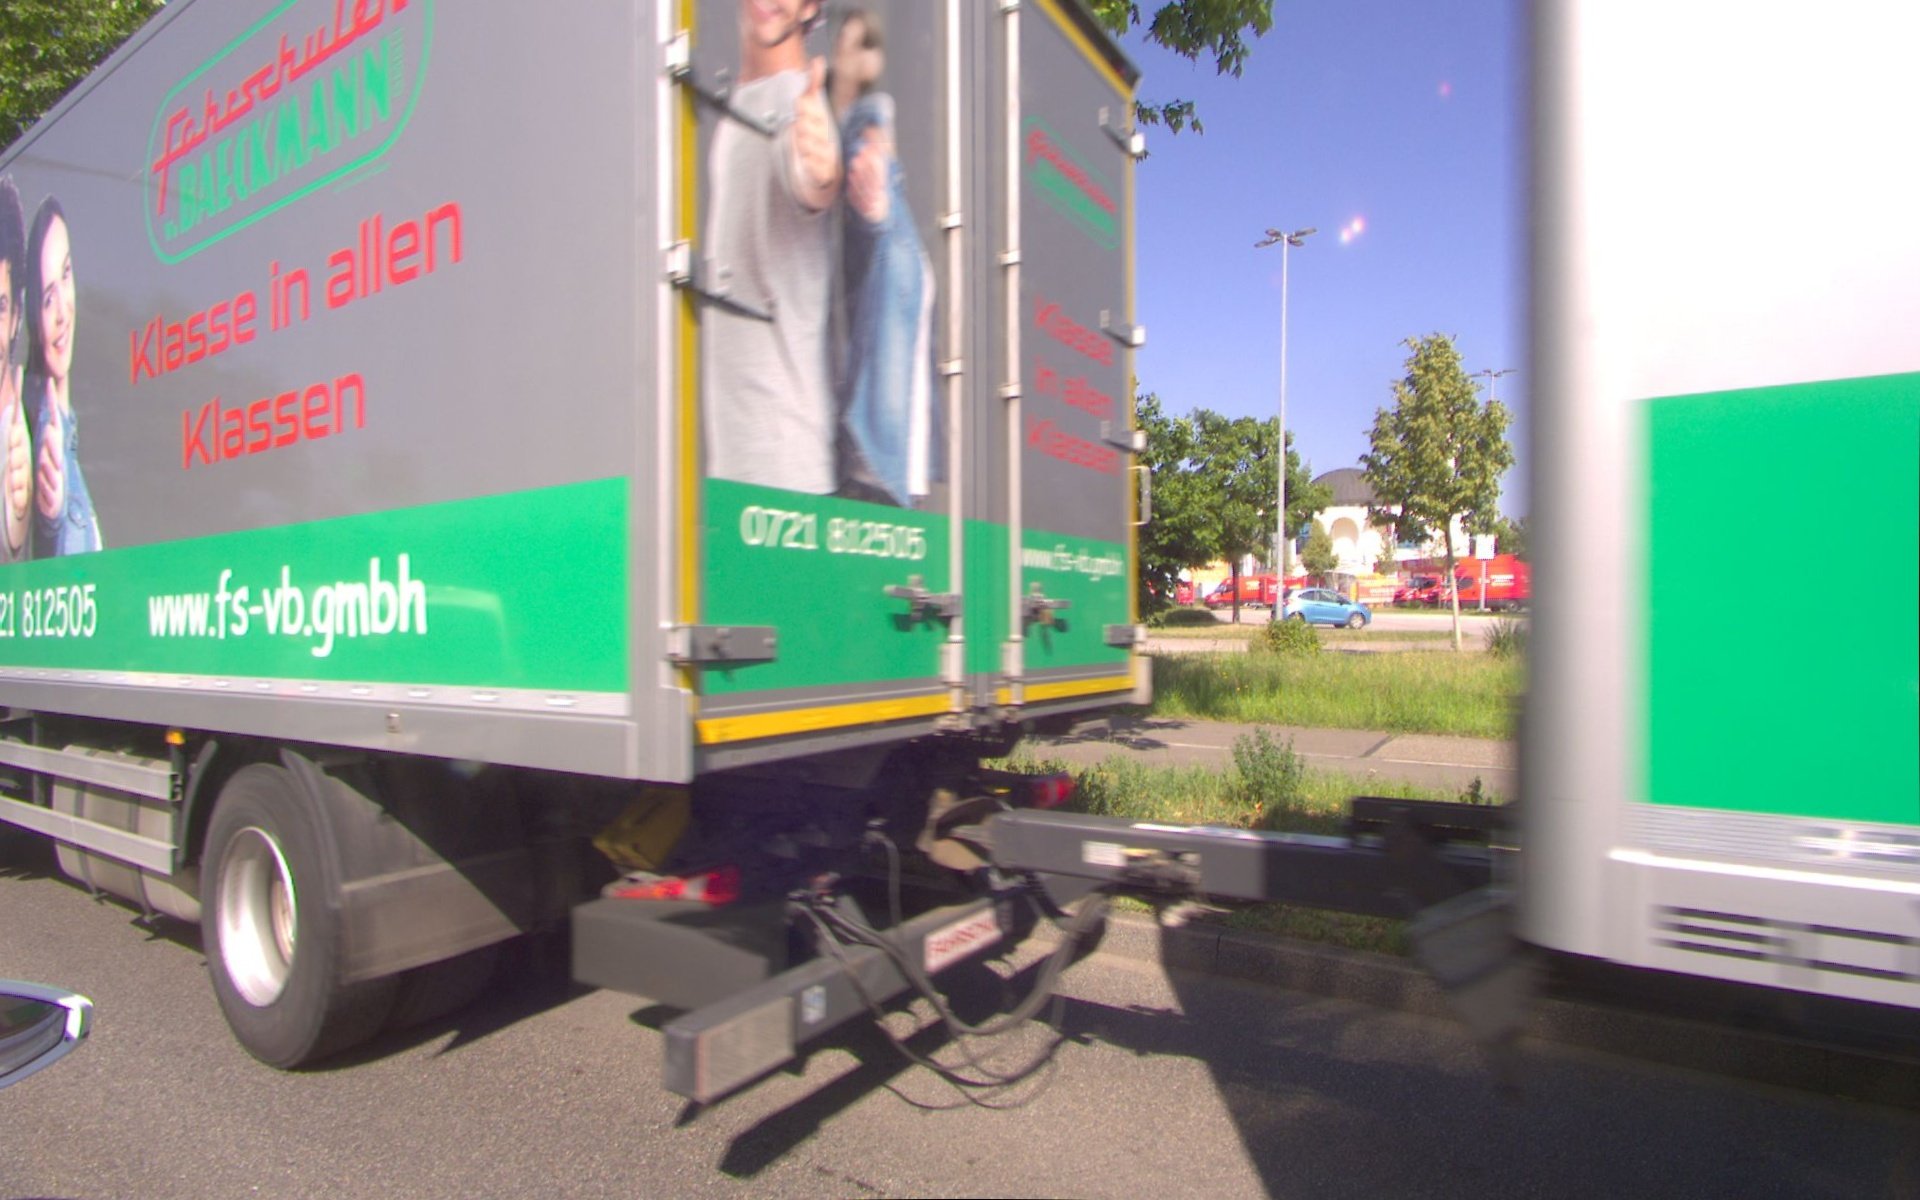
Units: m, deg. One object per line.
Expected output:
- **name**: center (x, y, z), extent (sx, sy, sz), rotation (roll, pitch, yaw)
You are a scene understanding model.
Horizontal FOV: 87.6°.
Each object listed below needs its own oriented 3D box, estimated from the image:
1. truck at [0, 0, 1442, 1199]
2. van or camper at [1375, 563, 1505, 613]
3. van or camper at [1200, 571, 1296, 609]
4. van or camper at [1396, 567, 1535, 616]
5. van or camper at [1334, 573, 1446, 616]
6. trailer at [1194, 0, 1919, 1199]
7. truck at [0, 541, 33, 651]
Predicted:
- **truck**: center (-2.564, -0.462, 4.972), extent (8.606, 3.940, 2.722), rotation (-1, -1, 35)
- **van or camper**: center (29.765, -0.714, 62.256), extent (7.145, 2.979, 2.001), rotation (0, -1, -2)
- **van or camper**: center (23.030, -0.761, 80.302), extent (7.145, 2.979, 2.001), rotation (0, -1, -2)
- **van or camper**: center (29.488, -0.462, 58.507), extent (7.145, 2.739, 2.001), rotation (0, -1, -2)
- **van or camper**: center (30.752, -0.374, 71.741), extent (7.145, 2.979, 2.001), rotation (0, -1, -2)
- **trailer**: center (4.202, -0.648, 0.275), extent (7.630, 3.927, 2.729), rotation (-1, 0, 34)
- **truck**: center (-33.229, -0.210, 31.078), extent (2.864, 3.689, 7.190), rotation (0, -2, -7)
